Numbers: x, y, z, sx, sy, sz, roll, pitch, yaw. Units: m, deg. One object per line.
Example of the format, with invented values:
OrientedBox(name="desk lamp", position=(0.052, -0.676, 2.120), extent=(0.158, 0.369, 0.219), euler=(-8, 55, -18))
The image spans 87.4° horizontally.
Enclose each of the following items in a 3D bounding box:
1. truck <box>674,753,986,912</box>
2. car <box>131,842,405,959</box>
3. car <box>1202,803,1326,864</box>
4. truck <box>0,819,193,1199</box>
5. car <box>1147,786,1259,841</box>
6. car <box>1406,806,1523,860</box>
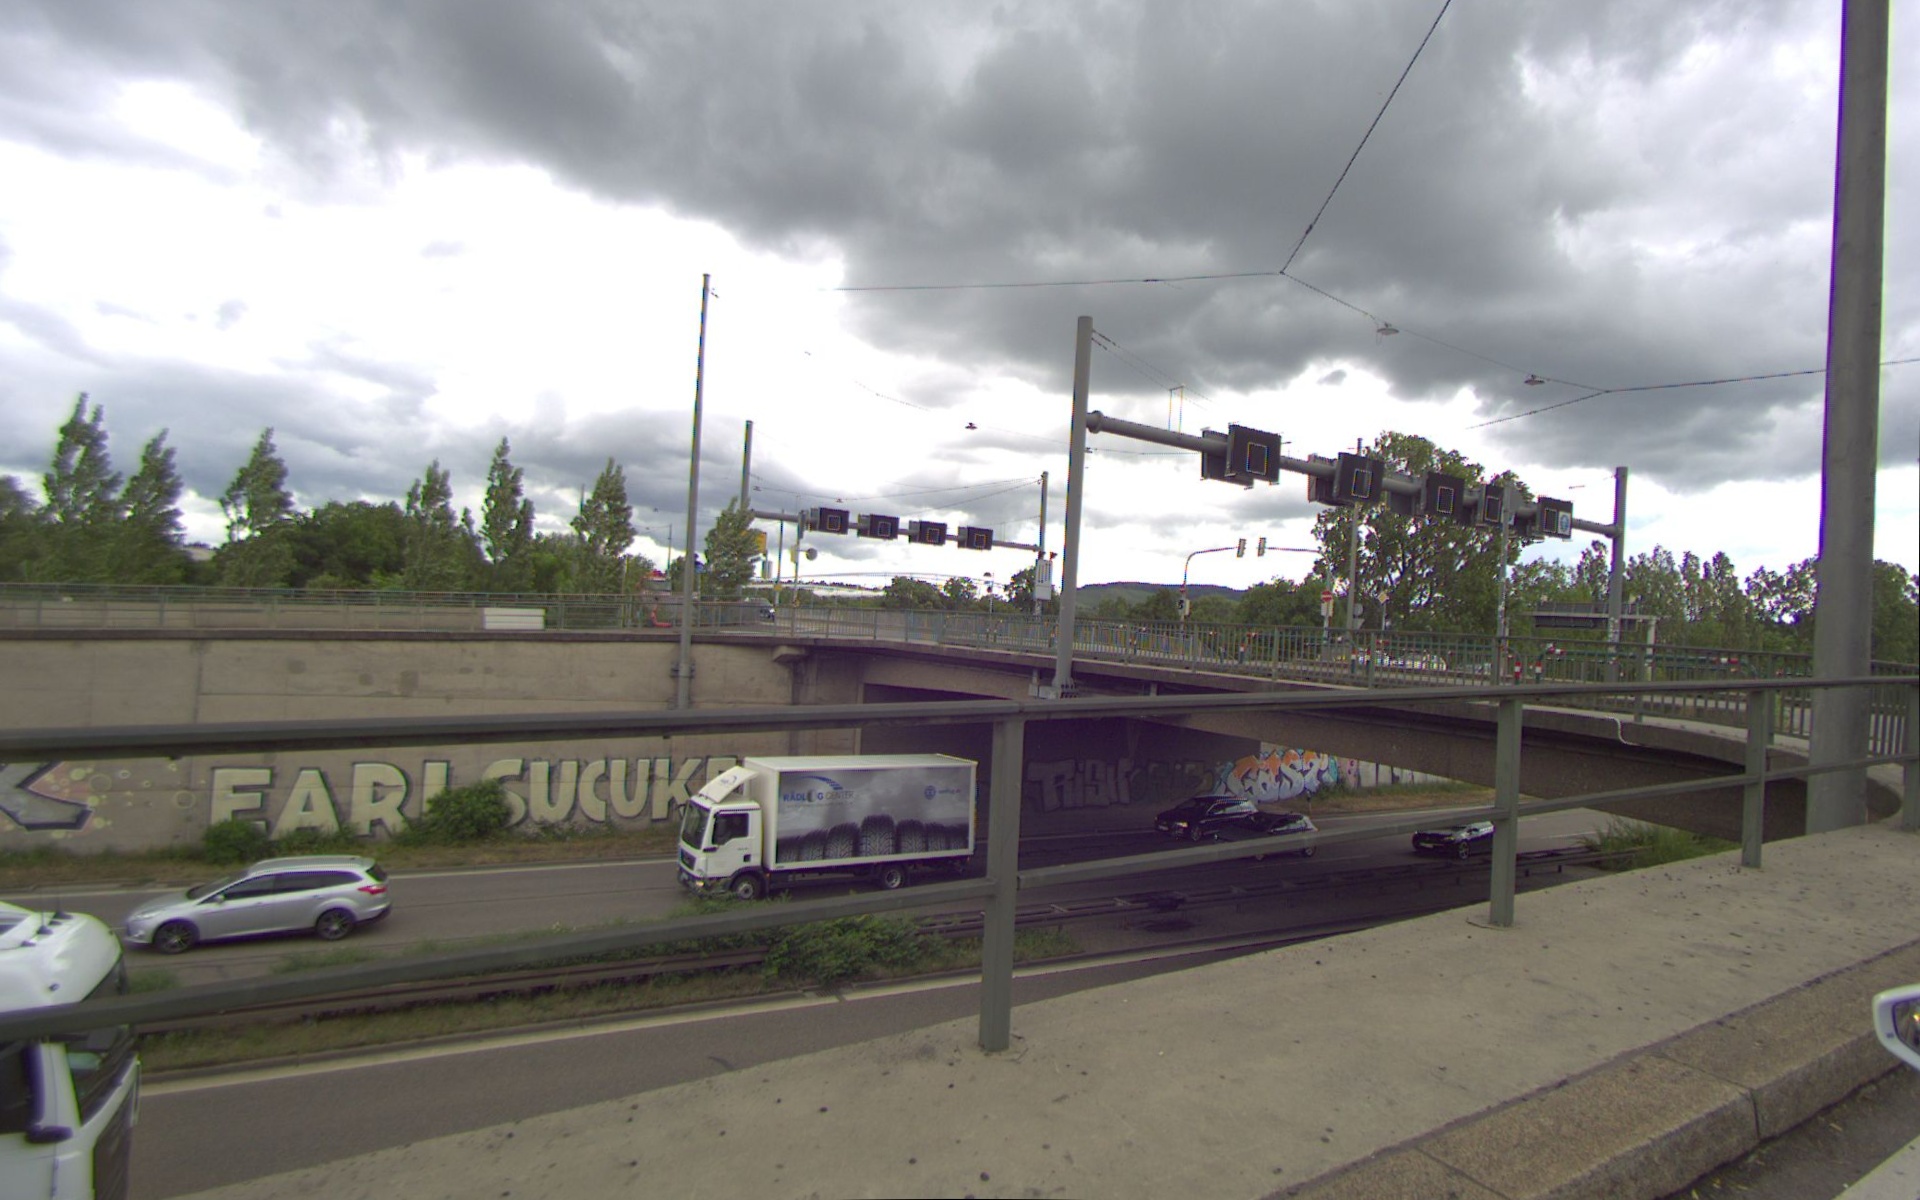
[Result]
OrientedBox(name="truck", position=(-3.393, 6.108, 27.505), extent=(8.040, 3.505, 2.501), euler=(5, -4, -31))
OrientedBox(name="car", position=(-14.158, 6.141, 20.891), extent=(4.445, 1.632, 1.671), euler=(5, -4, -32))
OrientedBox(name="car", position=(10.818, 8.224, 35.663), extent=(4.252, 1.632, 1.812), euler=(5, -4, -32))
OrientedBox(name="truck", position=(-10.427, 4.239, 8.295), extent=(5.804, 4.162, 2.991), euler=(5, -4, -29))
OrientedBox(name="car", position=(9.527, 8.291, 39.286), extent=(4.252, 1.632, 1.812), euler=(4, -3, -32))
OrientedBox(name="car", position=(19.134, 8.766, 38.078), extent=(4.518, 1.512, 1.831), euler=(4, -5, -30))
